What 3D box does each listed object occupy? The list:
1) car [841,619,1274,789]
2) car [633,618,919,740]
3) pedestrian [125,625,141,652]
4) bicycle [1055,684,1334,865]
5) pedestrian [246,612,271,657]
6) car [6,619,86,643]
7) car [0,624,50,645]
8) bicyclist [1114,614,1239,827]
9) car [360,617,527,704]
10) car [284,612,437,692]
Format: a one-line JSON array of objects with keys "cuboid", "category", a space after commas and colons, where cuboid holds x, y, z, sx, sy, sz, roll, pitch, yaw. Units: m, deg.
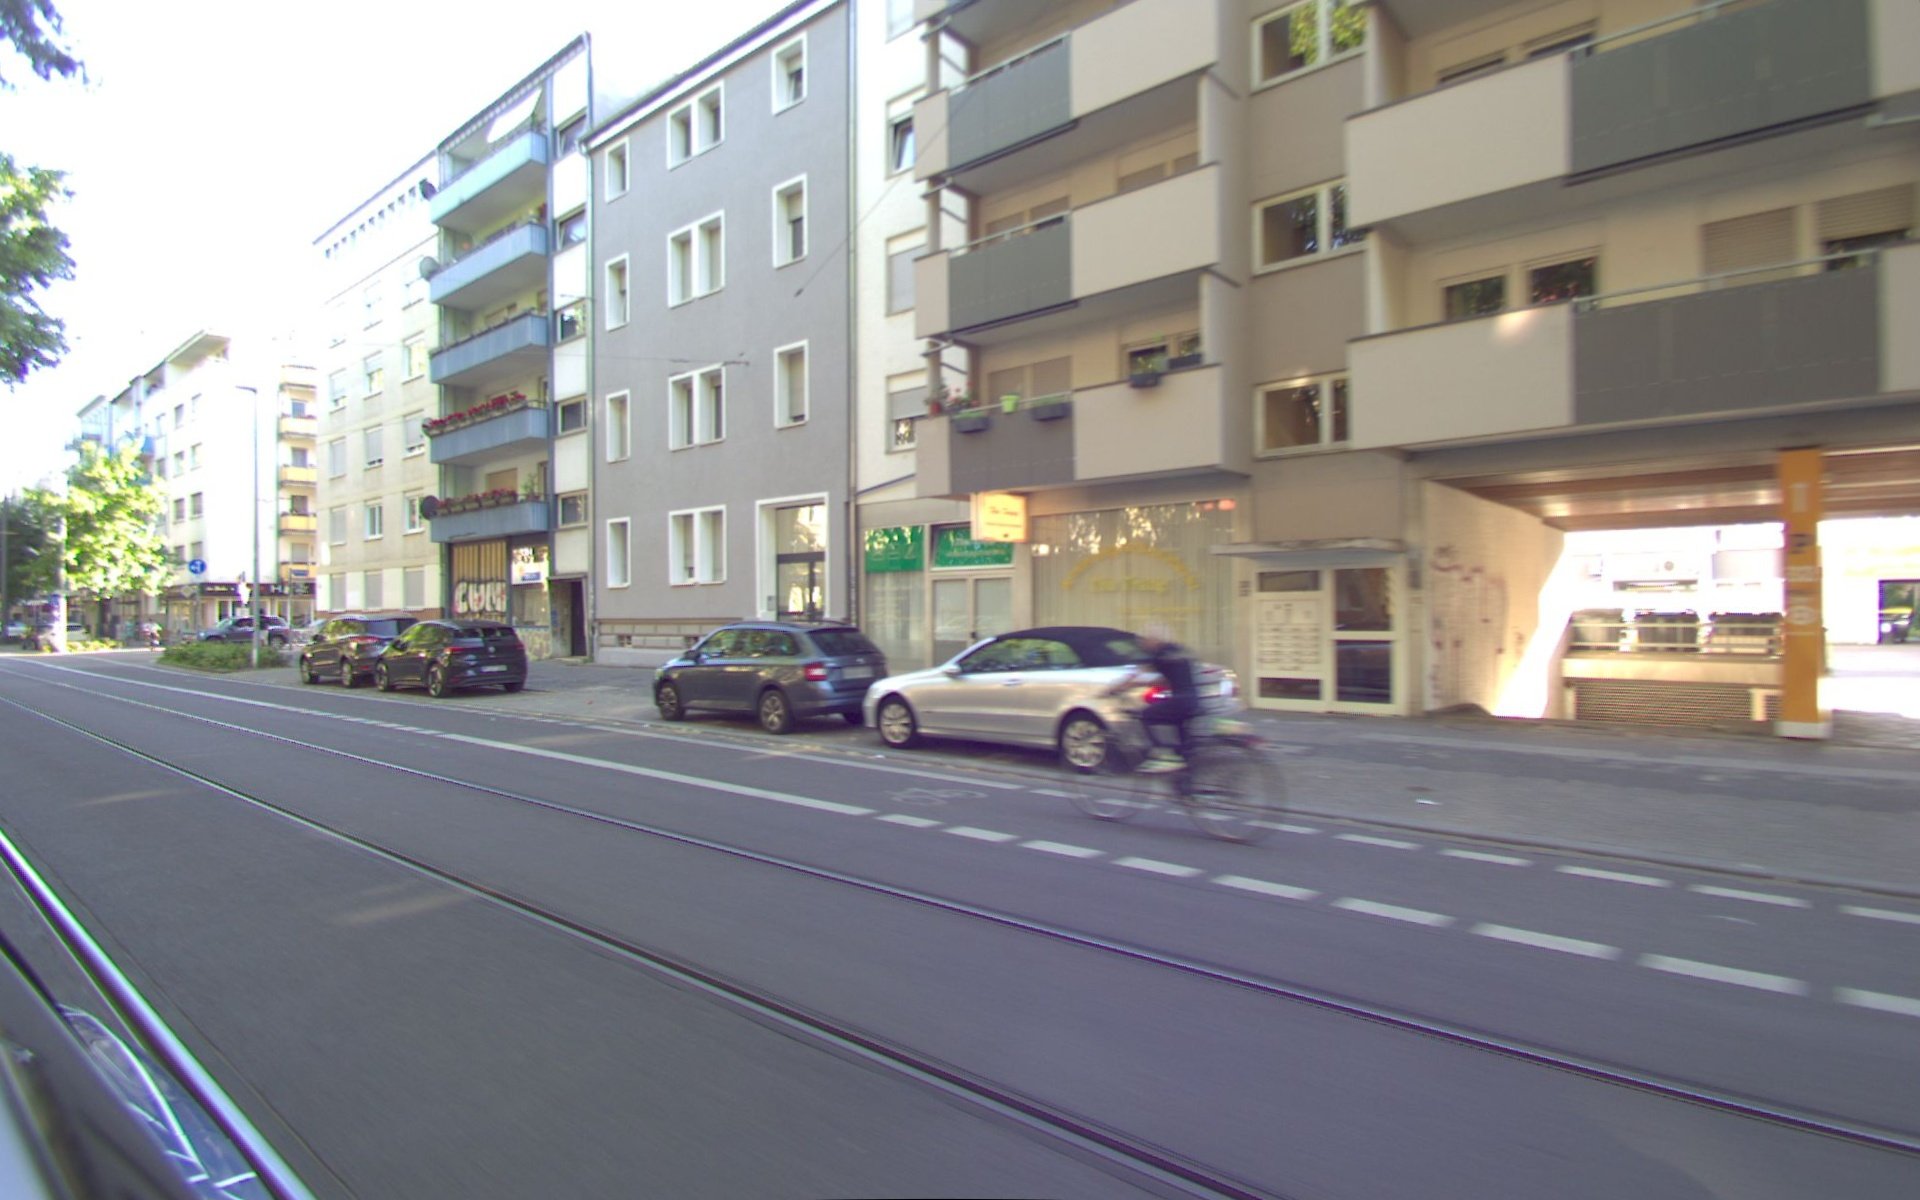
[{"cuboid": [0.876, 0.984, 11.247, 4.727, 1.502, 1.671, -1, -1, 42], "category": "car"}, {"cuboid": [-2.753, 1.025, 14.582, 4.237, 1.502, 1.775, -1, -1, 40], "category": "car"}, {"cuboid": [-46.903, 2.161, 57.424, 0.655, 1.516, 0.588, -1, 0, 41], "category": "pedestrian"}, {"cuboid": [1.573, 1.147, 7.085, 1.946, 1.025, 0.412, -1, -3, 42], "category": "bicycle"}, {"cuboid": [-30.166, 1.464, 43.538, 0.762, 1.913, 0.800, -1, 0, -41], "category": "pedestrian"}, {"cuboid": [-61.501, 2.081, 68.125, 1.587, 1.535, 3.899, -2, -1, 45], "category": "car"}, {"cuboid": [-71.977, 2.619, 77.097, 1.587, 1.535, 3.899, -2, -1, 45], "category": "car"}, {"cuboid": [1.525, 0.811, 7.127, 0.709, 1.405, 0.503, -1, -3, 41], "category": "bicyclist"}, {"cuboid": [-11.046, 1.211, 21.521, 4.199, 1.612, 1.639, -1, 0, 40], "category": "car"}, {"cuboid": [-14.748, 1.213, 24.789, 4.485, 1.751, 1.762, -1, 0, 39], "category": "car"}]
